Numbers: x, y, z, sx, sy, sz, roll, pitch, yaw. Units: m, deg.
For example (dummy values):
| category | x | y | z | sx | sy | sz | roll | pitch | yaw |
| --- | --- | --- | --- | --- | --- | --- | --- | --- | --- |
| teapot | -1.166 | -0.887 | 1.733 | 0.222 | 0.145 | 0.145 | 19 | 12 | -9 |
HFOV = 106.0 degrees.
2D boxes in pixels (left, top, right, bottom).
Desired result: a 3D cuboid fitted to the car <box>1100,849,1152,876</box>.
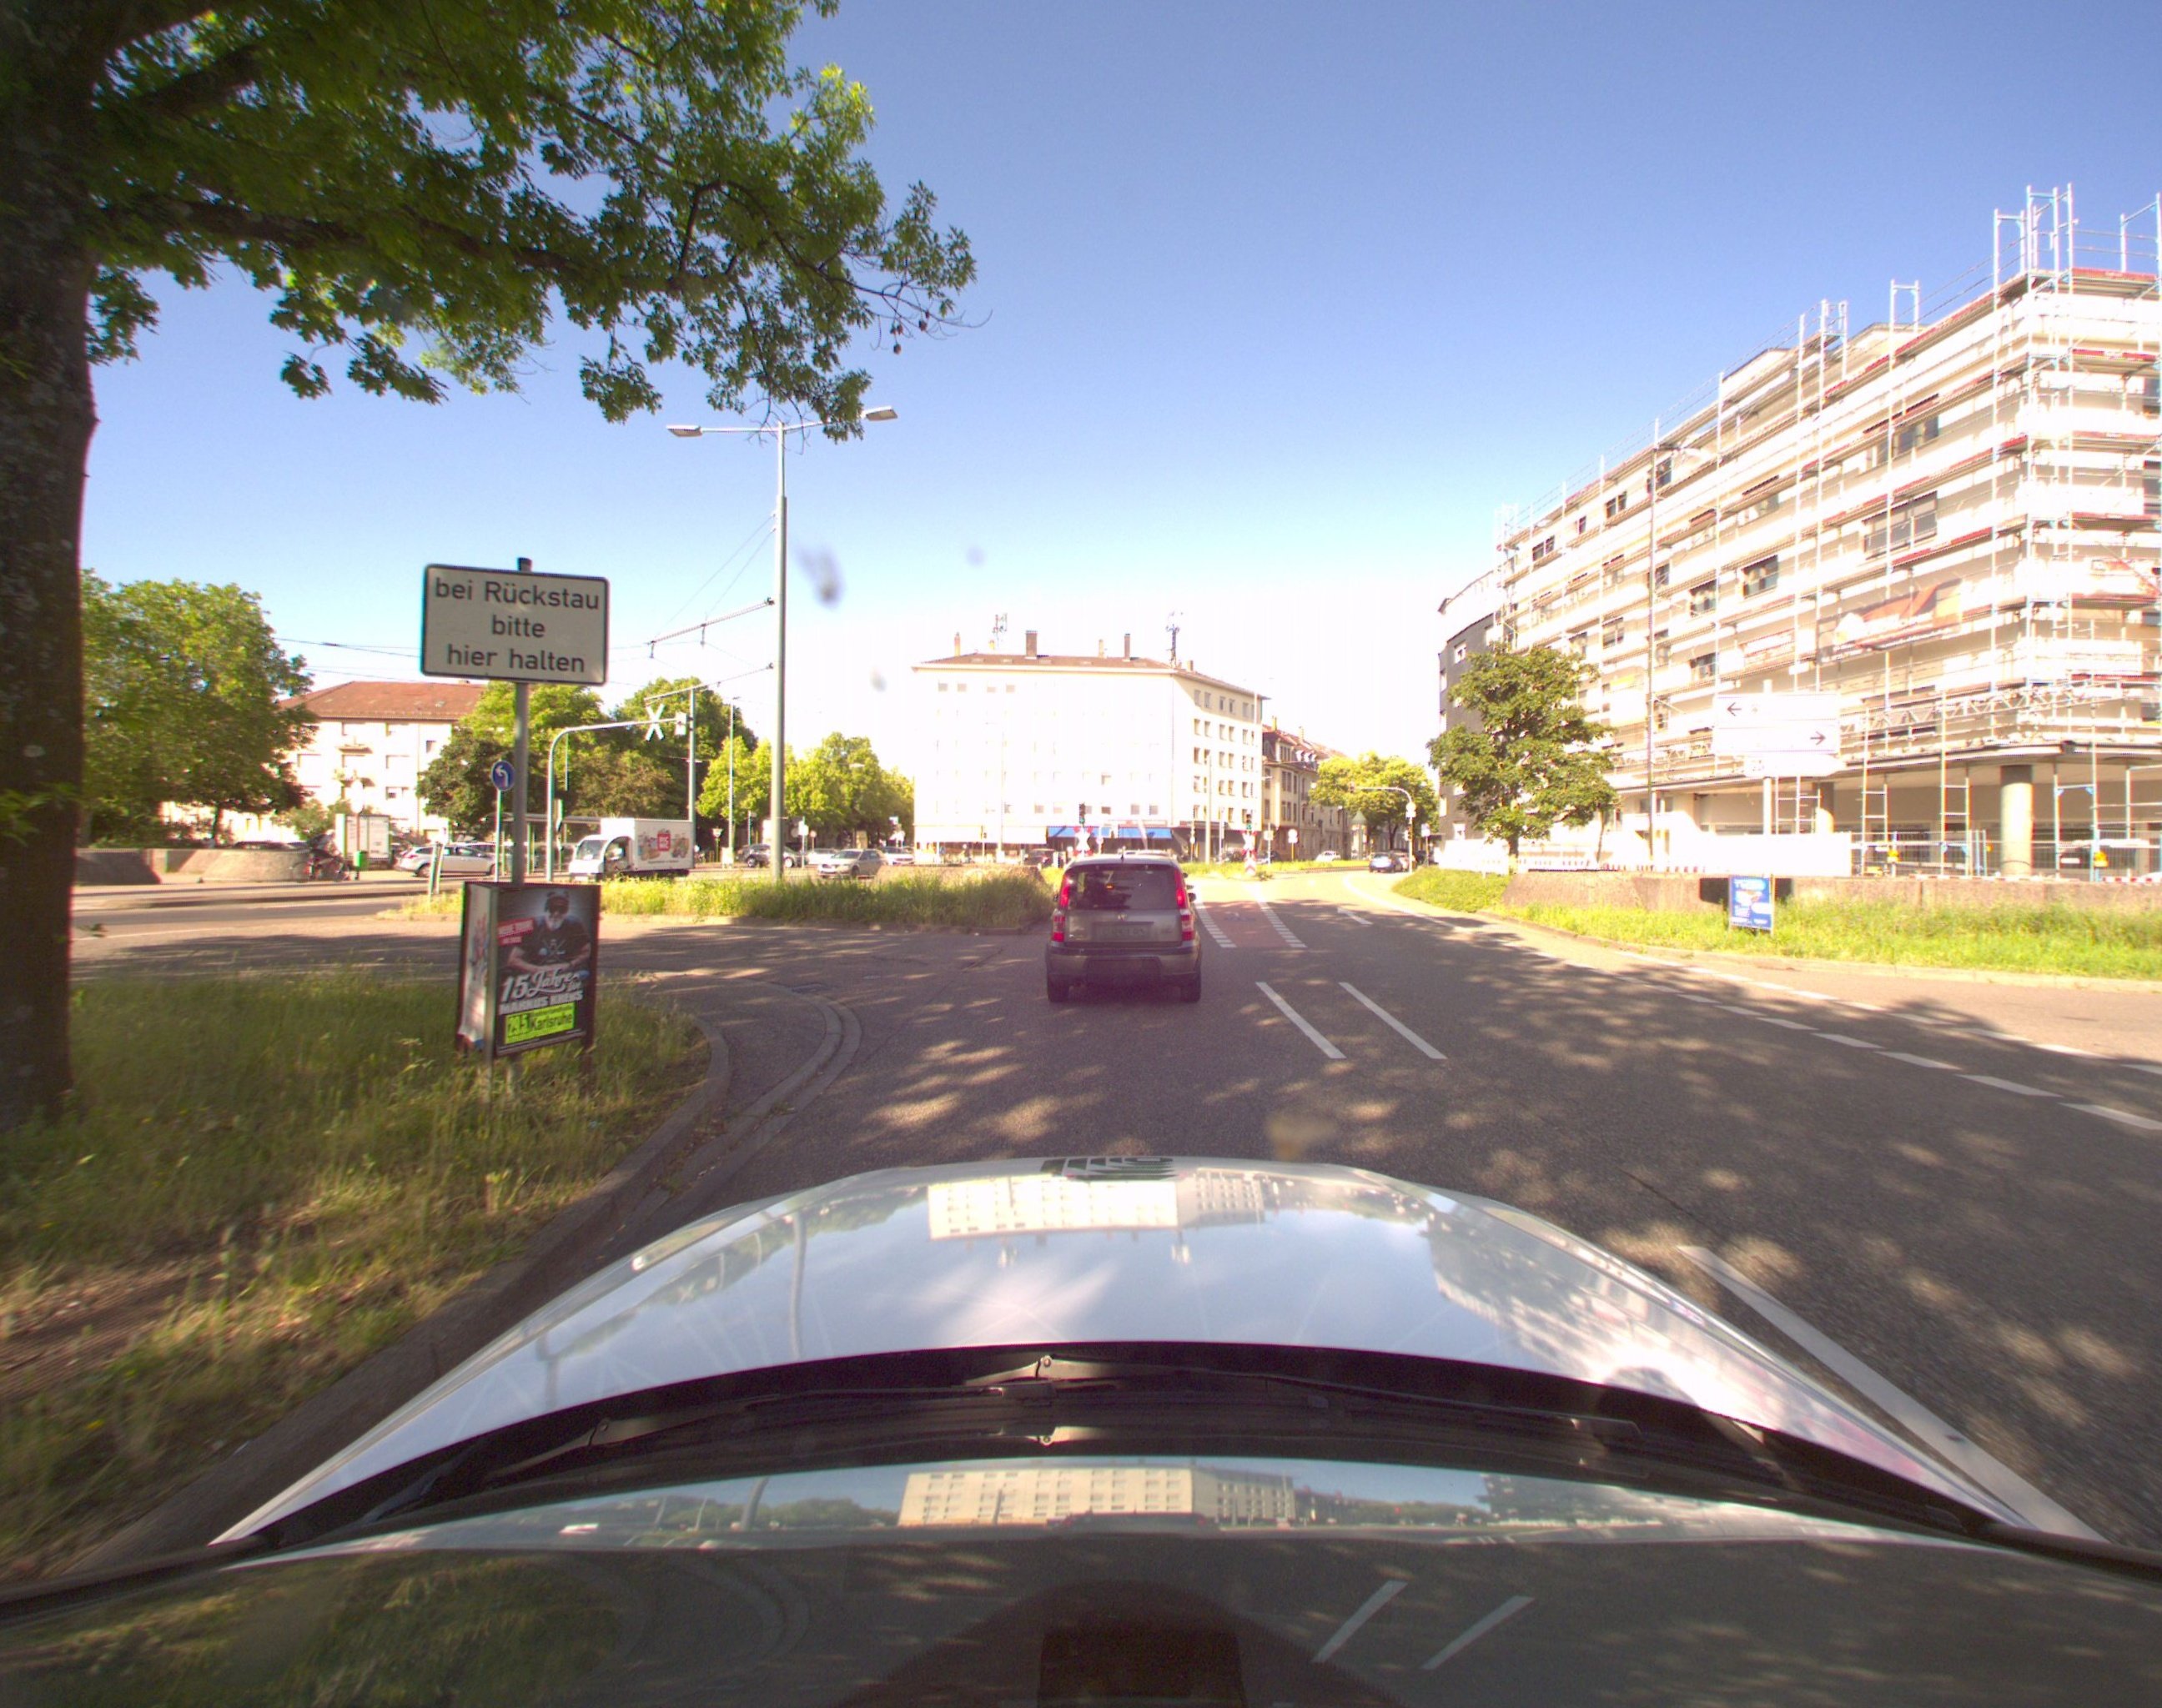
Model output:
| category | x | y | z | sx | sy | sz | roll | pitch | yaw |
| --- | --- | --- | --- | --- | --- | --- | --- | --- | --- |
| car | 2.484 | 0.432 | 45.650 | 1.653 | 1.438 | 3.370 | 0 | 0 | -23 |

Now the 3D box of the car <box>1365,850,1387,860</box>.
| category | x | y | z | sx | sy | sz | roll | pitch | yaw |
| --- | --- | --- | --- | --- | --- | --- | --- | --- | --- |
| car | 41.658 | 0.151 | 114.919 | 1.974 | 1.395 | 4.025 | 1 | 0 | 33 |

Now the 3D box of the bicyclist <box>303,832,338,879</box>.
| category | x | y | z | sx | sy | sz | roll | pitch | yaw |
| --- | --- | --- | --- | --- | --- | --- | --- | --- | --- |
| bicyclist | -25.002 | 0.041 | 26.773 | 0.606 | 1.530 | 0.680 | 2 | 1 | 29 |

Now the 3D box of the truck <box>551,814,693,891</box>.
| category | x | y | z | sx | sy | sz | roll | pitch | yaw |
| --- | --- | --- | --- | --- | --- | --- | --- | --- | --- |
| truck | -15.559 | -0.064 | 27.888 | 1.774 | 2.426 | 4.128 | 1 | 0 | 17 |

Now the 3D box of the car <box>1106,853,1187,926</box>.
| category | x | y | z | sx | sy | sz | roll | pitch | yaw |
| --- | --- | --- | --- | --- | --- | --- | --- | --- | --- |
| car | 1.510 | 0.713 | 18.343 | 1.613 | 1.429 | 3.694 | 0 | 0 | 6 |

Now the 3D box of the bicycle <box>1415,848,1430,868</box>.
| category | x | y | z | sx | sy | sz | roll | pitch | yaw |
| --- | --- | --- | --- | --- | --- | --- | --- | --- | --- |
| bicycle | 26.476 | 0.308 | 63.038 | 0.567 | 1.511 | 2.825 | 1 | 0 | 33 |

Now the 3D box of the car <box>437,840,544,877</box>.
| category | x | y | z | sx | sy | sz | roll | pitch | yaw |
| --- | --- | --- | --- | --- | --- | --- | --- | --- | --- |
| car | -30.000 | 0.186 | 41.514 | 1.742 | 1.717 | 4.024 | 4 | 2 | 27 |

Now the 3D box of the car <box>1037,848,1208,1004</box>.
| category | x | y | z | sx | sy | sz | roll | pitch | yaw |
| --- | --- | --- | --- | --- | --- | --- | --- | --- | --- |
| car | 0.447 | 0.688 | 9.562 | 1.654 | 1.510 | 3.252 | 0 | 0 | 1 |

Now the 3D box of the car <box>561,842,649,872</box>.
| category | x | y | z | sx | sy | sz | roll | pitch | yaw |
| --- | --- | --- | --- | --- | --- | --- | --- | --- | --- |
| car | -26.652 | 0.120 | 45.739 | 1.743 | 1.488 | 4.030 | 4 | 2 | 22 |

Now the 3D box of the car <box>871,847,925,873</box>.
| category | x | y | z | sx | sy | sz | roll | pitch | yaw |
| --- | --- | --- | --- | --- | --- | --- | --- | --- | --- |
| car | -11.637 | 0.330 | 51.573 | 2.007 | 1.562 | 4.343 | 1 | 0 | -32 |

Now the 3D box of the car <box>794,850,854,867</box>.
| category | x | y | z | sx | sy | sz | roll | pitch | yaw |
| --- | --- | --- | --- | --- | --- | --- | --- | --- | --- |
| car | -19.736 | 0.320 | 62.677 | 3.982 | 1.243 | 1.996 | 1 | 0 | -7 |

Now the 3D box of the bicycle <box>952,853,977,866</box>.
| category | x | y | z | sx | sy | sz | roll | pitch | yaw |
| --- | --- | --- | --- | --- | --- | --- | --- | --- | --- |
| bicycle | -9.126 | 0.457 | 63.648 | 1.832 | 0.951 | 0.790 | 1 | -1 | 36 |

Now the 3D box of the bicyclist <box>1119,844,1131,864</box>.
| category | x | y | z | sx | sy | sz | roll | pitch | yaw |
| --- | --- | --- | --- | --- | --- | --- | --- | --- | --- |
| bicyclist | 3.542 | -0.009 | 65.942 | 0.814 | 1.559 | 0.565 | 0 | 0 | 24 |

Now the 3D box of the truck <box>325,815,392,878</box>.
| category | x | y | z | sx | sy | sz | roll | pitch | yaw |
| --- | --- | --- | --- | --- | --- | --- | --- | --- | --- |
| truck | -36.205 | -0.416 | 40.757 | 4.768 | 2.994 | 2.012 | 2 | 1 | 42 |

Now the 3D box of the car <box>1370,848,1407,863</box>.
| category | x | y | z | sx | sy | sz | roll | pitch | yaw |
| --- | --- | --- | --- | --- | --- | --- | --- | --- | --- |
| car | 33.566 | 0.103 | 88.874 | 1.906 | 1.594 | 3.983 | 0 | 0 | -13 |

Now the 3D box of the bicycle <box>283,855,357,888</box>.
| category | x | y | z | sx | sy | sz | roll | pitch | yaw |
| --- | --- | --- | --- | --- | --- | --- | --- | --- | --- |
| bicycle | -25.011 | 0.561 | 26.788 | 0.606 | 1.001 | 1.669 | 2 | 2 | 29 |

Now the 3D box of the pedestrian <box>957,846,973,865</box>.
| category | x | y | z | sx | sy | sz | roll | pitch | yaw |
| --- | --- | --- | --- | --- | --- | --- | --- | --- | --- |
| pedestrian | -9.064 | 0.096 | 63.611 | 0.926 | 1.427 | 0.781 | 1 | -1 | 36 |

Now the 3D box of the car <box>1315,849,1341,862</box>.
| category | x | y | z | sx | sy | sz | roll | pitch | yaw |
| --- | --- | --- | --- | --- | --- | --- | --- | --- | --- |
| car | 27.239 | 0.159 | 89.771 | 1.773 | 1.483 | 3.554 | 1 | 0 | 35 |

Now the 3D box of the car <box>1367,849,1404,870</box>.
| category | x | y | z | sx | sy | sz | roll | pitch | yaw |
| --- | --- | --- | --- | --- | --- | --- | --- | --- | --- |
| car | 21.735 | 0.350 | 58.125 | 1.758 | 1.442 | 3.641 | 1 | 1 | 32 |

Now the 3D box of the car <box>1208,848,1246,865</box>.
| category | x | y | z | sx | sy | sz | roll | pitch | yaw |
| --- | --- | --- | --- | --- | --- | --- | --- | --- | --- |
| car | 12.573 | 0.165 | 69.861 | 1.773 | 1.395 | 3.749 | 1 | 0 | 35 |

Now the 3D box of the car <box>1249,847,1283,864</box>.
| category | x | y | z | sx | sy | sz | roll | pitch | yaw |
| --- | --- | --- | --- | --- | --- | --- | --- | --- | --- |
| car | 17.569 | 0.167 | 77.215 | 1.773 | 1.565 | 3.790 | 1 | 0 | 35 |

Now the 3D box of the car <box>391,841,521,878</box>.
| category | x | y | z | sx | sy | sz | roll | pitch | yaw |
| --- | --- | --- | --- | --- | --- | --- | --- | --- | --- |
| car | -29.318 | 0.261 | 38.307 | 1.849 | 1.543 | 4.576 | 4 | 3 | 43 |

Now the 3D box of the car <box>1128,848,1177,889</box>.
| category | x | y | z | sx | sy | sz | roll | pitch | yaw |
| --- | --- | --- | --- | --- | --- | --- | --- | --- | --- |
| car | 2.815 | 0.517 | 31.733 | 1.751 | 1.486 | 4.300 | 0 | 0 | 6 |

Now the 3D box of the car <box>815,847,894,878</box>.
| category | x | y | z | sx | sy | sz | roll | pitch | yaw |
| --- | --- | --- | --- | --- | --- | --- | --- | --- | --- |
| car | -10.985 | 0.384 | 39.796 | 1.651 | 1.448 | 4.420 | 1 | 0 | 15 |

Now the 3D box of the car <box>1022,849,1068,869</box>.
| category | x | y | z | sx | sy | sz | roll | pitch | yaw |
| --- | --- | --- | --- | --- | --- | --- | --- | --- | --- |
| car | -2.468 | 0.323 | 55.332 | 1.700 | 1.253 | 3.593 | 1 | 0 | -28 |

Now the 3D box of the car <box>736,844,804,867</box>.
| category | x | y | z | sx | sy | sz | roll | pitch | yaw |
| --- | --- | --- | --- | --- | --- | --- | --- | --- | --- |
| car | -21.972 | 0.100 | 57.611 | 3.969 | 1.572 | 2.002 | 1 | 0 | 3 |

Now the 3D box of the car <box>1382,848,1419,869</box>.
| category | x | y | z | sx | sy | sz | roll | pitch | yaw |
| --- | --- | --- | --- | --- | --- | --- | --- | --- | --- |
| car | 24.468 | 0.326 | 62.280 | 1.802 | 1.508 | 4.026 | 0 | 1 | 33 |
